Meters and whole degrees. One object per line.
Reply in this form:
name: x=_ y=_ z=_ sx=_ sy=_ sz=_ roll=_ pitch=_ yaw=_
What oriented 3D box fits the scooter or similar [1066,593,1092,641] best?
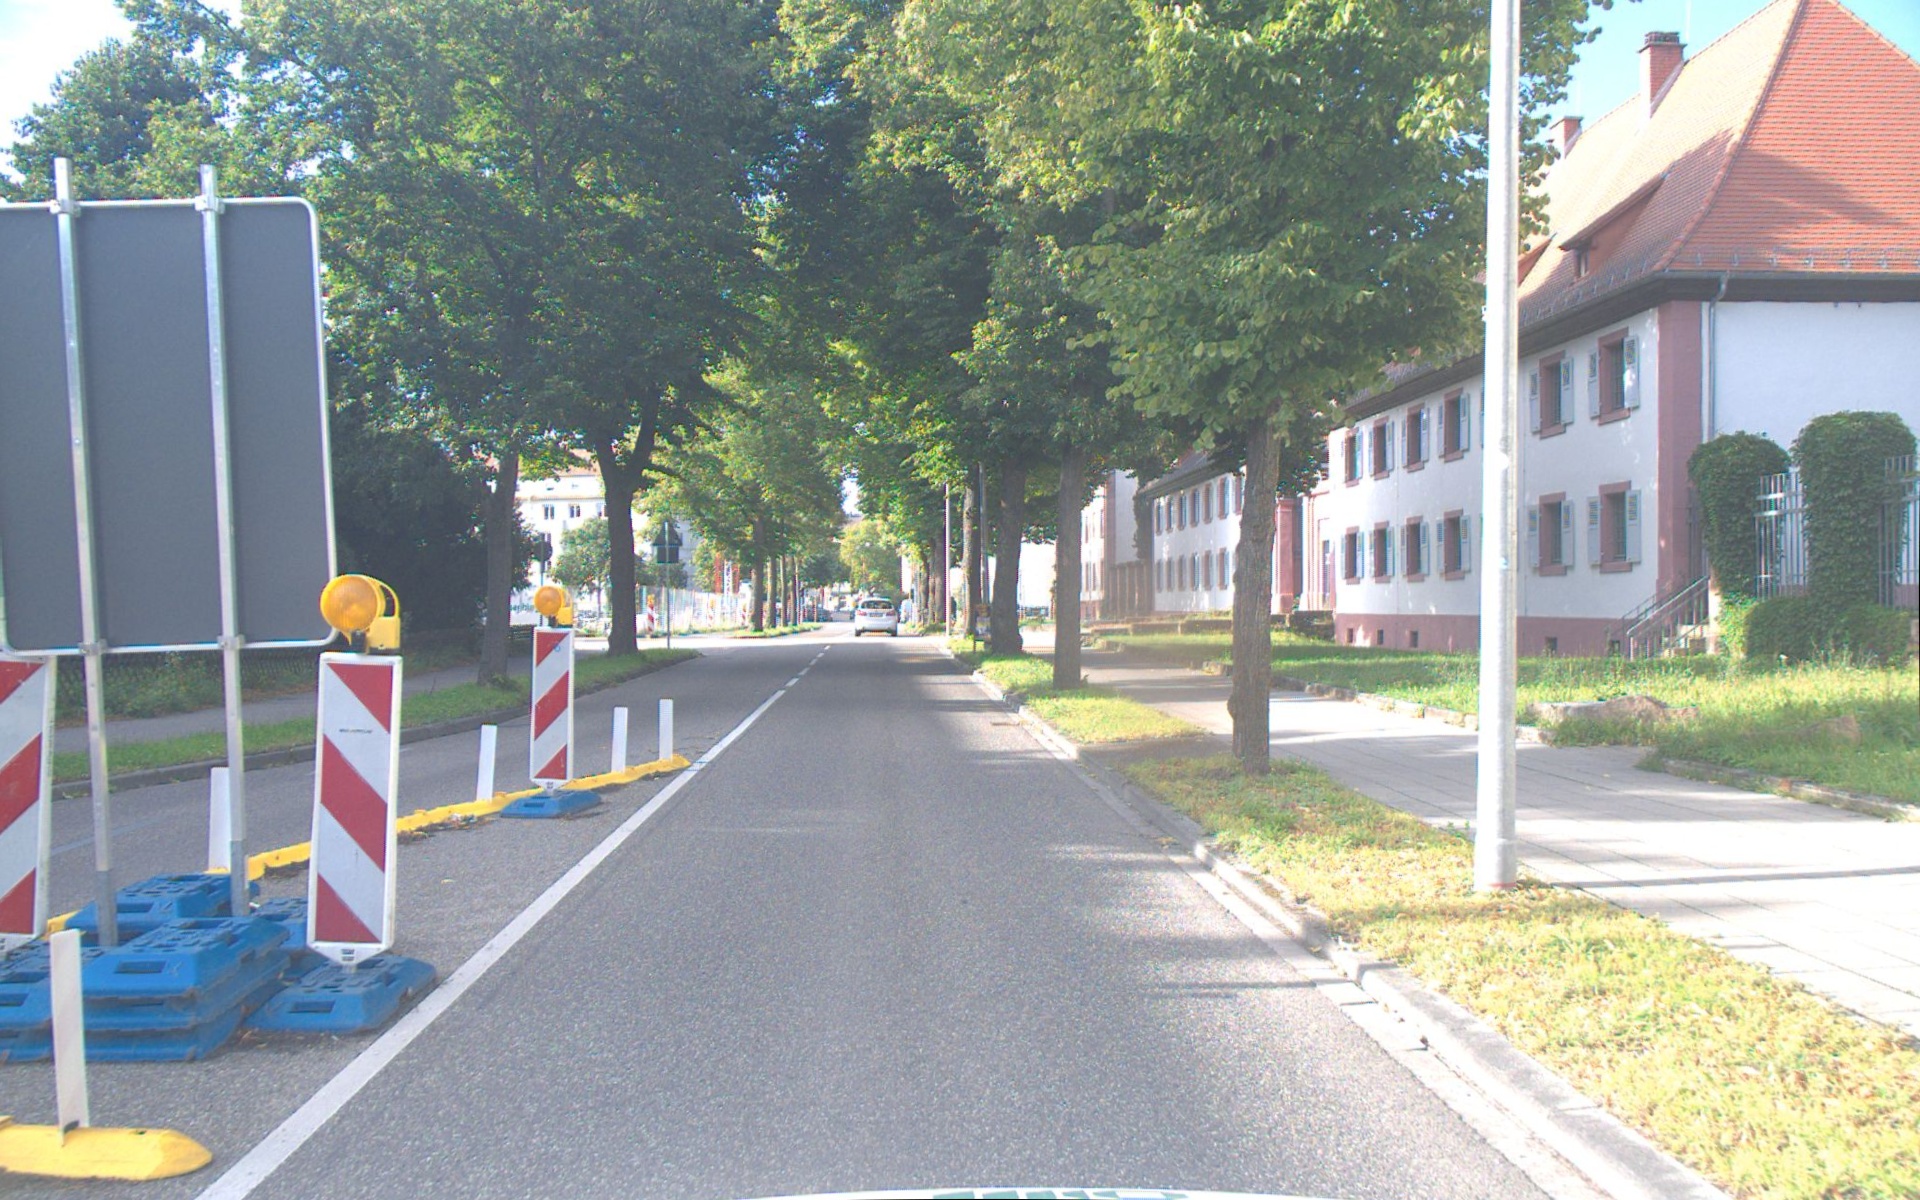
scooter or similar: x=3.396 y=0.483 z=47.200 sx=0.567 sy=1.314 sz=1.381 roll=-2 pitch=0 yaw=-2

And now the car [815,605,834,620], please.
car: x=-16.061 y=1.476 z=196.316 sx=1.957 sy=1.668 sz=3.991 roll=-1 pitch=0 yaw=-9

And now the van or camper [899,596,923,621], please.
van or camper: x=-5.367 y=0.930 z=180.589 sx=2.167 sy=2.653 sz=5.363 roll=-1 pitch=0 yaw=-7

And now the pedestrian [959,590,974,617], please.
pedestrian: x=0.393 y=0.210 z=101.988 sx=0.798 sy=1.618 sz=0.768 roll=-3 pitch=-1 yaw=-4

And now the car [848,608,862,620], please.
car: x=-15.508 y=2.092 z=244.079 sx=1.954 sy=1.786 sz=3.998 roll=1 pitch=-1 yaw=-3

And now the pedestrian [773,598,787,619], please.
pedestrian: x=-14.945 y=0.722 z=137.514 sx=0.990 sy=1.758 sz=1.173 roll=0 pitch=-2 yaw=-15

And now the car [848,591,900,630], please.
car: x=-3.651 y=0.465 z=69.730 sx=1.955 sy=1.582 sz=4.268 roll=1 pitch=-1 yaw=-6

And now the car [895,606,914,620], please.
car: x=-6.438 y=1.507 z=191.461 sx=1.954 sy=1.601 sz=3.997 roll=-1 pitch=0 yaw=-4
